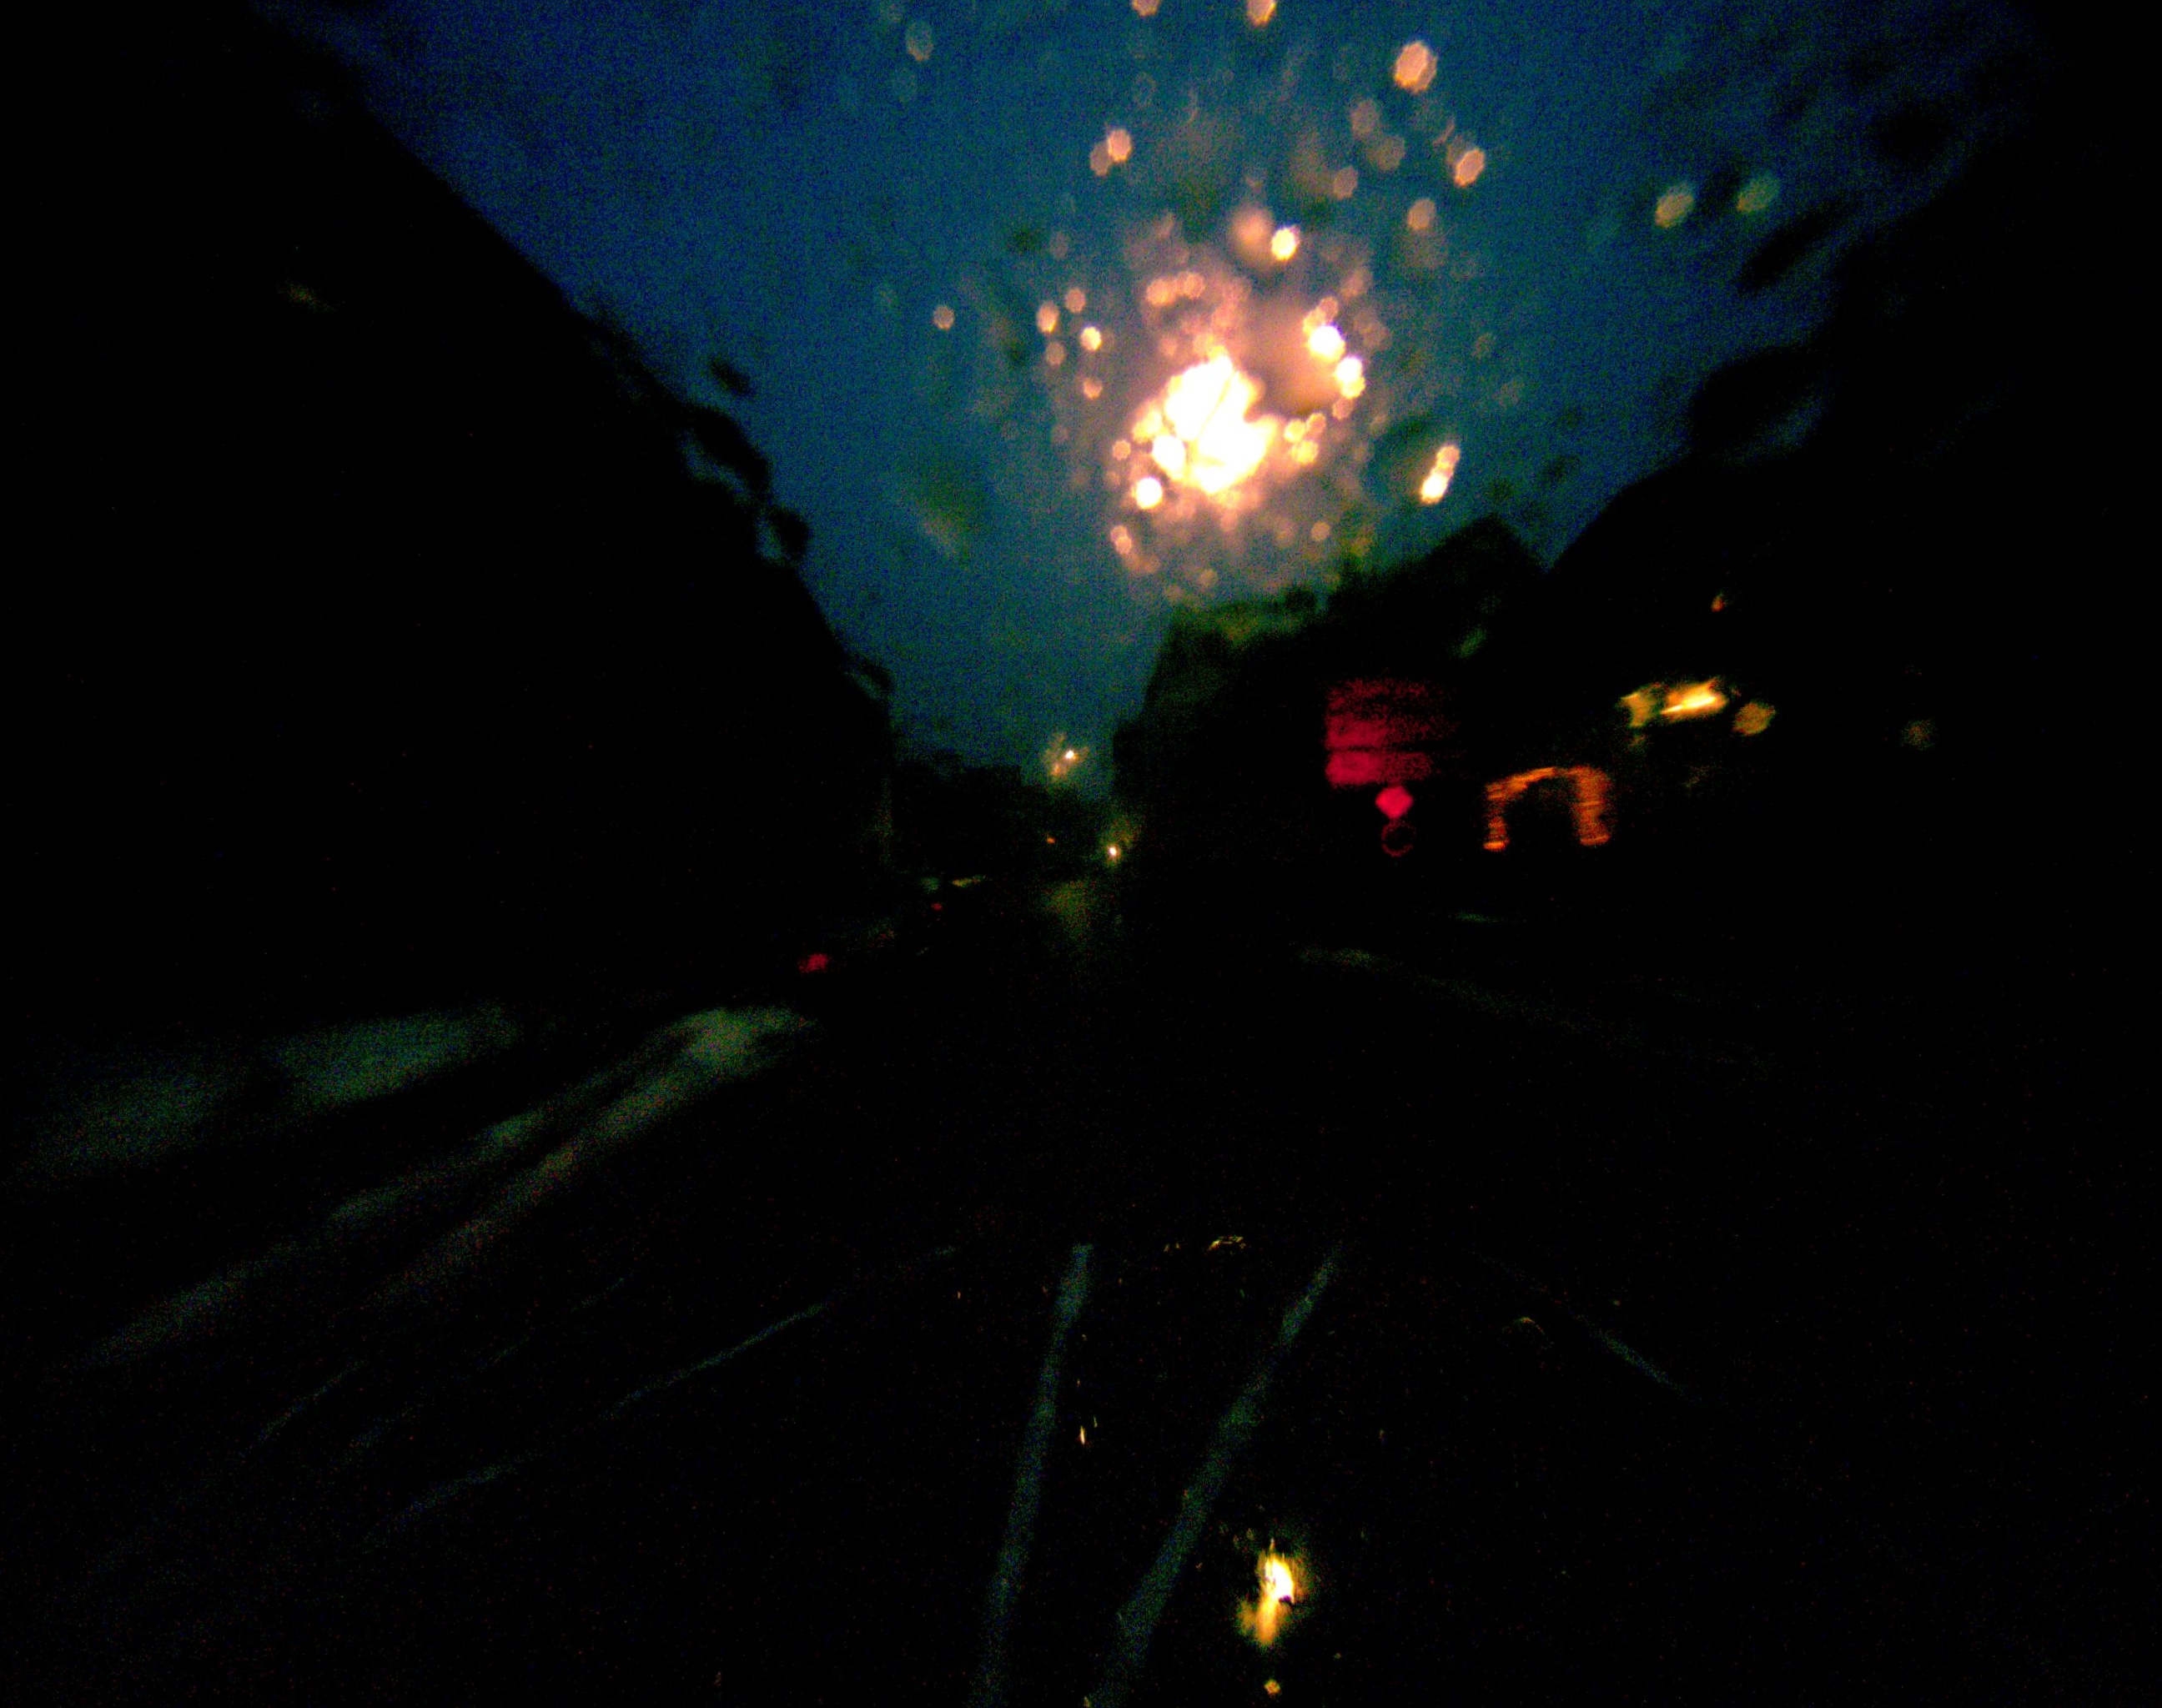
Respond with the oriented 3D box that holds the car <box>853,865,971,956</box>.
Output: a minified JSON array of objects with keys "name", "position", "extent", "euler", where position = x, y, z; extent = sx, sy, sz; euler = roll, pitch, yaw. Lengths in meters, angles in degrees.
[{"name":"car","position":[-3.319,1.039,15.663],"extent":[1.721,1.491,3.905],"euler":[-3,0,-4]}]

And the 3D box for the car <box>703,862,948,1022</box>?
[{"name":"car","position":[-2.975,0.919,9.915],"extent":[1.916,1.472,4.280],"euler":[-2,1,-3]}]

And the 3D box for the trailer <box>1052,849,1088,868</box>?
[{"name":"trailer","position":[-0.883,0.391,66.150],"extent":[1.997,1.380,4.735],"euler":[-4,1,13]}]
